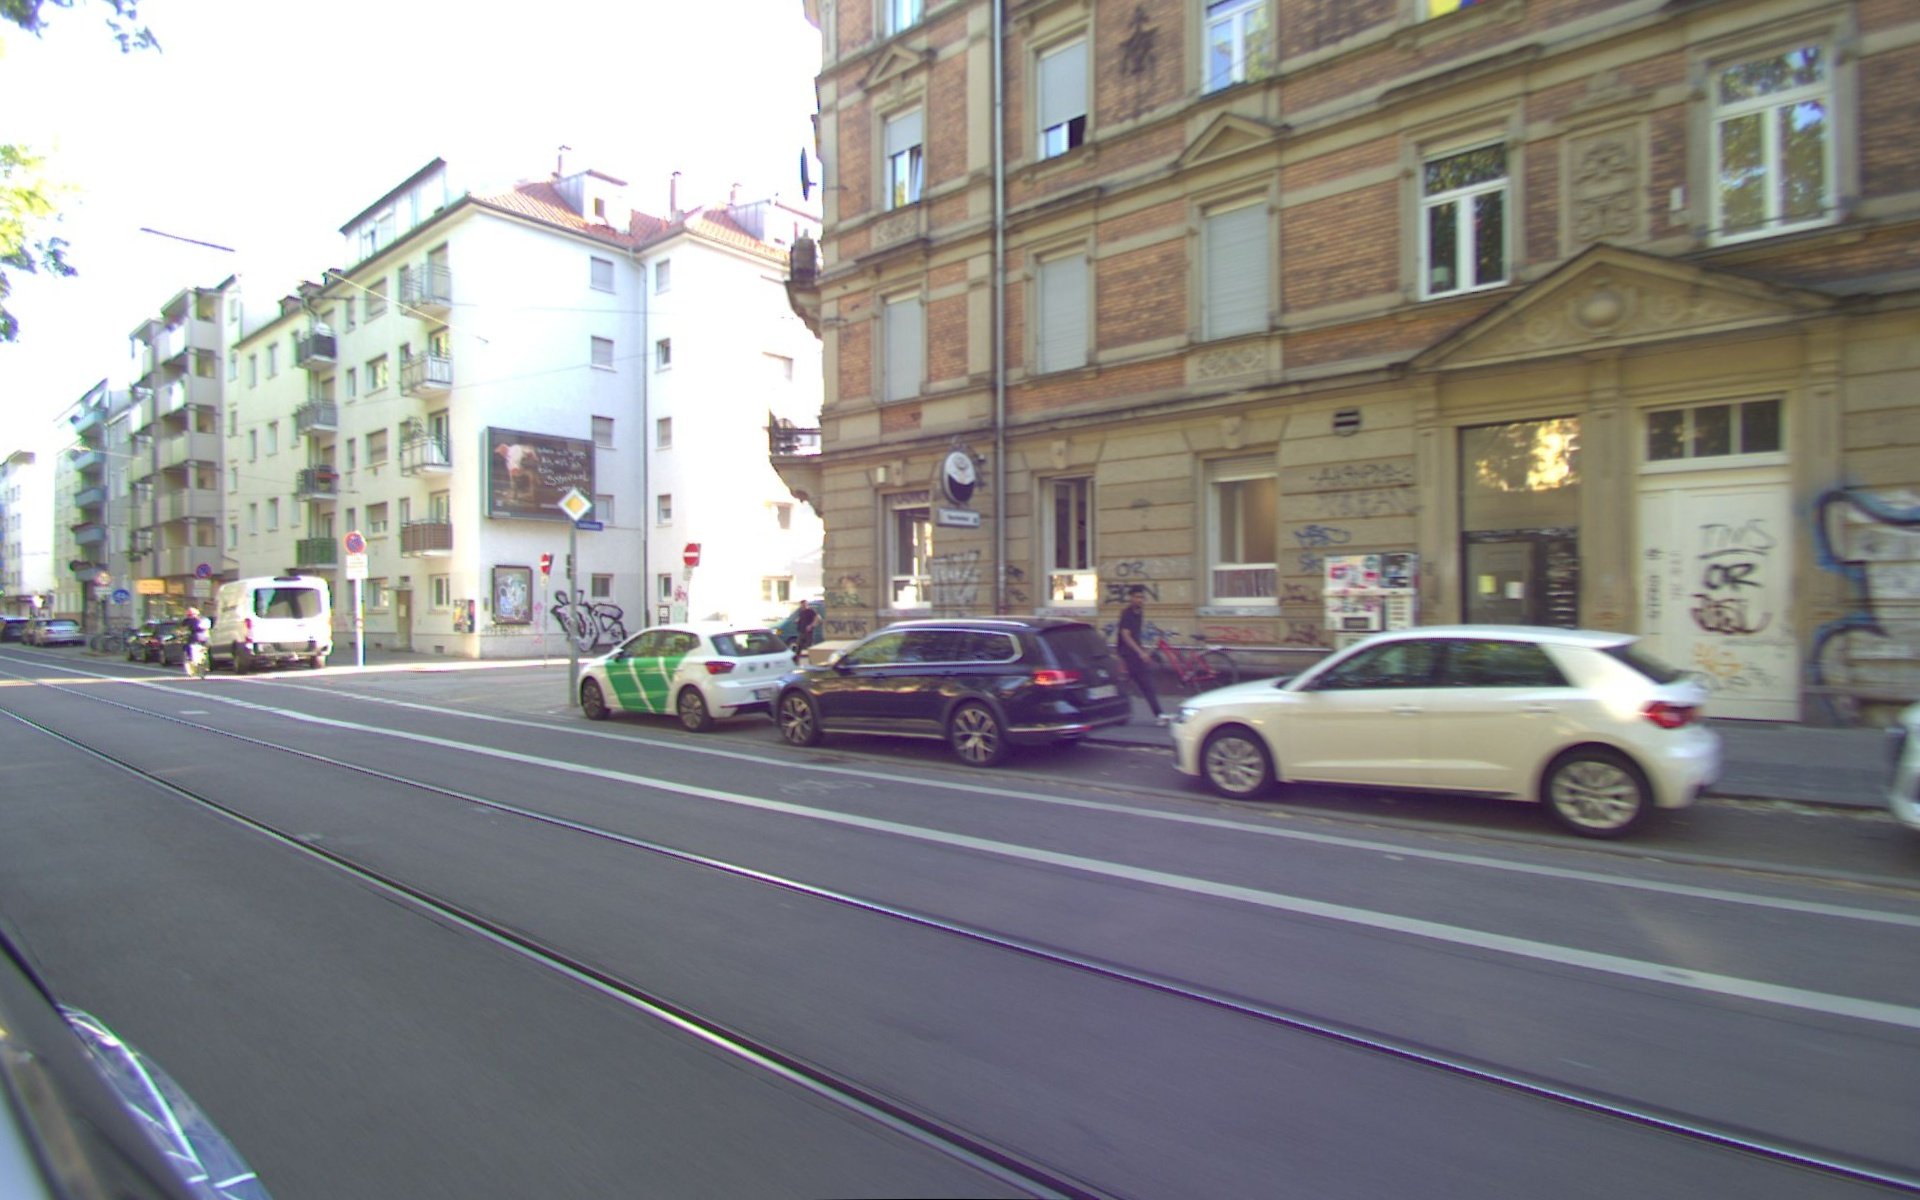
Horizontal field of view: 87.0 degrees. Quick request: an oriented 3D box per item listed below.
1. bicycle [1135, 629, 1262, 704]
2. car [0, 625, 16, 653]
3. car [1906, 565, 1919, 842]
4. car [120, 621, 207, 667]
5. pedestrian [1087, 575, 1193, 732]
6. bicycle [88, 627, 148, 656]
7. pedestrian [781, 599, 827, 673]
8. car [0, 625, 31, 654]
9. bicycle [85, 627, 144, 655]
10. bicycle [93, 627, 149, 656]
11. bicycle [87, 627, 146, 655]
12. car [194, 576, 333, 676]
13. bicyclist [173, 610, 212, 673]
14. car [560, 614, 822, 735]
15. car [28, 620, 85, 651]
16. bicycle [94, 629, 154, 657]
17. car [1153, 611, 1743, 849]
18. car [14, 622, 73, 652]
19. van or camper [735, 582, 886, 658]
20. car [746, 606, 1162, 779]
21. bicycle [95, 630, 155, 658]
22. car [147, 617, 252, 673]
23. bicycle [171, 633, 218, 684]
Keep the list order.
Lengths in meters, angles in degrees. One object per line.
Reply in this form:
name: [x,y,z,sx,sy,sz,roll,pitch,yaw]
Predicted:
bicycle: [3.508,0.963,14.995,1.846,1.042,0.368,-1,-1,38]
car: [-62.305,2.506,65.050,4.484,1.751,1.762,-1,1,39]
car: [7.718,0.623,4.724,4.716,1.736,1.768,-1,0,41]
car: [-27.967,1.495,35.481,4.571,1.467,1.700,-1,-1,43]
pedestrian: [2.171,0.616,12.216,1.053,1.814,0.678,-1,0,32]
bicycle: [-35.893,1.748,43.155,1.945,1.127,0.425,-2,0,-43]
pedestrian: [-3.830,0.872,24.854,0.894,1.762,0.649,-3,-1,45]
car: [-58.369,2.403,61.928,4.198,1.612,1.640,-1,1,40]
bicycle: [-36.631,1.760,43.869,1.908,1.127,0.440,-2,0,-43]
bicycle: [-35.081,1.735,42.341,1.768,1.127,0.425,-2,0,-43]
bicycle: [-36.240,1.754,43.499,1.937,1.127,0.440,-2,0,-43]
car: [-19.695,0.696,28.494,5.666,2.555,2.042,-1,-1,43]
bicyclist: [-18.604,1.006,24.541,0.806,1.493,0.576,-1,-2,40]
car: [-4.057,0.987,14.964,4.041,1.503,1.723,-1,0,40]
car: [-46.282,1.776,51.814,4.726,1.502,1.672,-1,-1,42]
bicycle: [-34.492,1.766,41.757,1.871,1.045,0.402,-2,0,-43]
car: [3.762,0.843,8.180,3.993,1.431,1.684,-1,0,37]
car: [-49.907,1.984,55.085,4.237,1.502,1.776,-1,-1,40]
van or camper: [-5.057,0.670,34.846,2.021,2.405,5.049,-1,-1,41]
car: [-0.246,0.899,11.631,4.782,1.574,1.723,-1,0,40]
bicycle: [-34.098,1.787,41.344,1.871,1.045,0.402,-2,0,-43]
car: [-23.989,1.359,31.877,4.343,1.644,1.701,-1,-1,40]
bicycle: [-18.646,1.411,24.630,2.230,1.159,0.416,0,-2,40]
